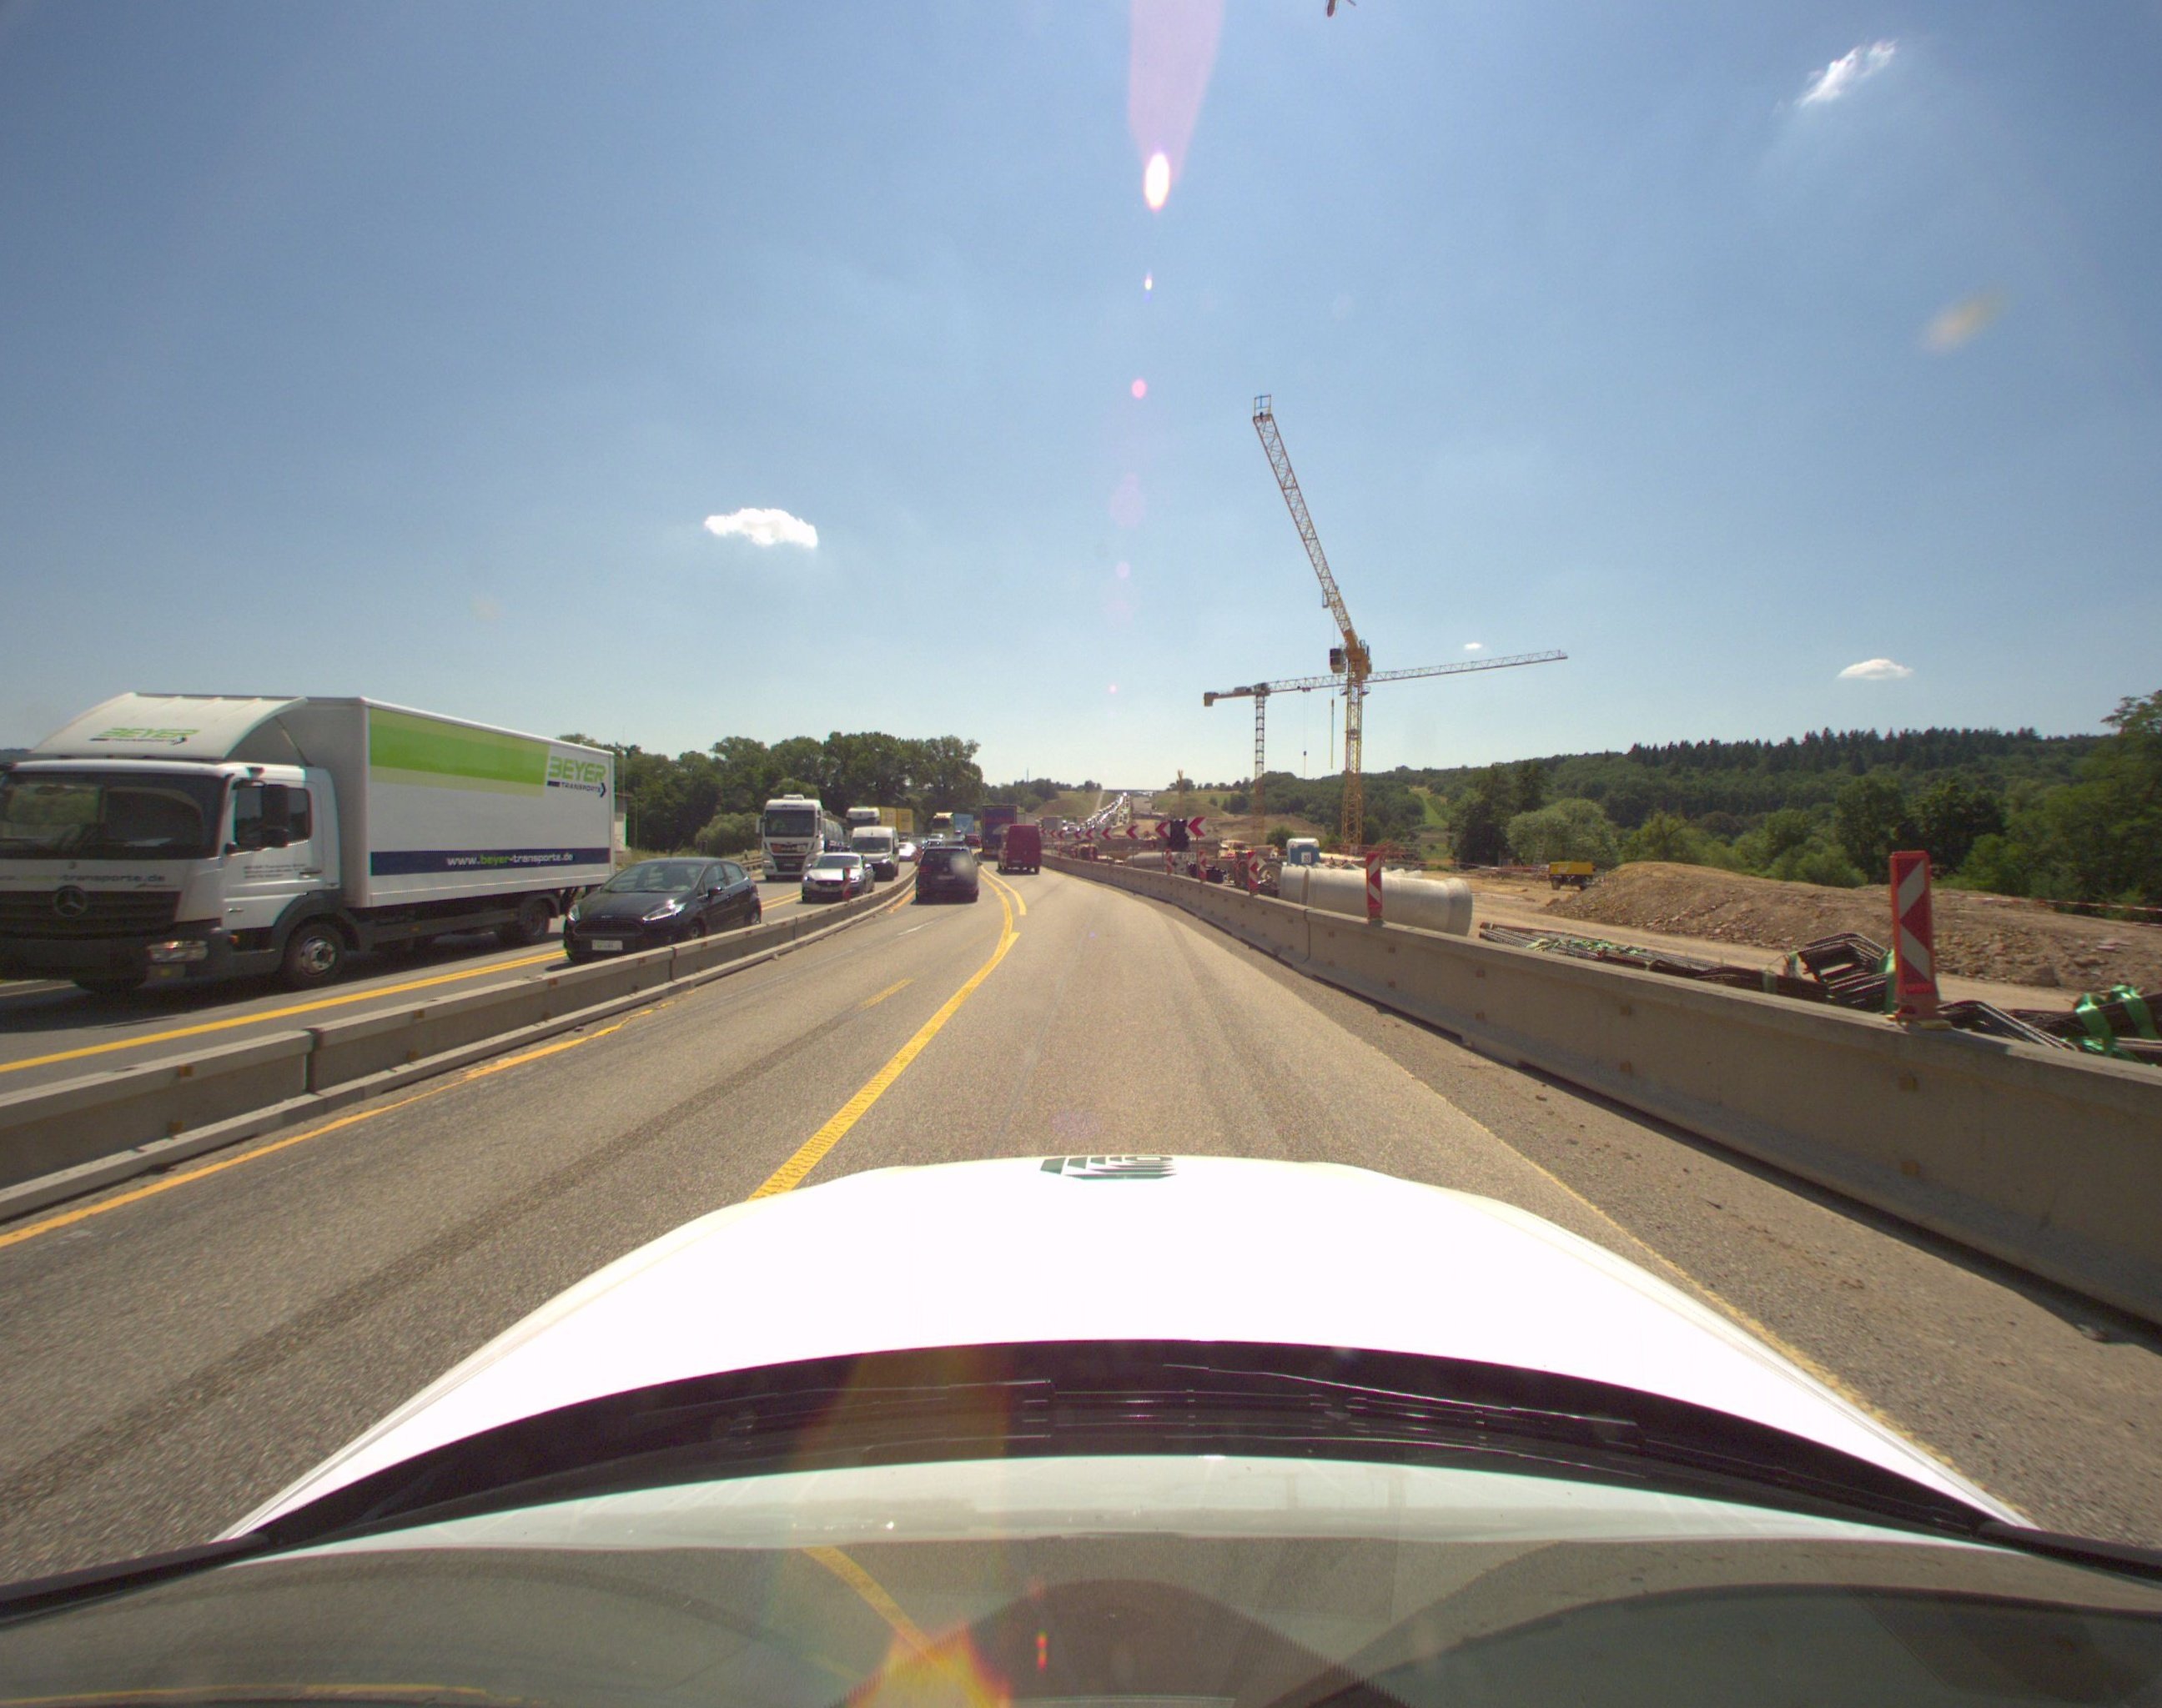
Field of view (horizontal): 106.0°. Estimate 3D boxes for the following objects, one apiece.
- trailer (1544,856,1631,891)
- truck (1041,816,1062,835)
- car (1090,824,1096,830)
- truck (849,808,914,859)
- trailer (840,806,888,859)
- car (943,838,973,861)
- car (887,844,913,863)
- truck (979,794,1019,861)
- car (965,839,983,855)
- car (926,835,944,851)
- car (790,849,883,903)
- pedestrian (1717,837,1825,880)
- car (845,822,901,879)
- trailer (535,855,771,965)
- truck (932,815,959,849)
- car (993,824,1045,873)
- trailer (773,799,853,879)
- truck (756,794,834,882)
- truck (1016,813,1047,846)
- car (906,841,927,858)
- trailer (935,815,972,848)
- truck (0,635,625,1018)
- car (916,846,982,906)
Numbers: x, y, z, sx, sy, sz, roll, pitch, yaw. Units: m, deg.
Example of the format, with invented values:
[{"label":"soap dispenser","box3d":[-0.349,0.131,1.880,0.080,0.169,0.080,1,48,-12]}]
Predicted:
[{"label":"trailer","box3d":[23.005,0.858,37.141,1.618,1.486,3.826,1,0,0]},{"label":"truck","box3d":[-5.435,-5.243,151.034,3.171,2.977,8.904,0,-2,3]},{"label":"car","box3d":[3.352,-7.603,227.122,1.611,1.699,3.893,1,2,2]},{"label":"truck","box3d":[-18.472,-1.904,76.669,2.800,4.341,15.363,0,1,-2]},{"label":"trailer","box3d":[-18.073,-1.784,68.226,2.860,4.229,5.212,0,1,-4]},{"label":"car","box3d":[-8.925,-0.359,59.474,1.830,1.635,4.382,0,0,-5]},{"label":"car","box3d":[-13.030,-0.067,58.829,1.677,1.264,4.322,0,2,-10]},{"label":"truck","box3d":[-6.445,-2.022,63.697,2.942,4.944,6.727,0,2,-7]},{"label":"car","box3d":[-11.212,-0.715,85.507,1.831,1.635,4.097,0,1,-6]},{"label":"car","box3d":[-15.107,-1.179,84.284,1.635,1.485,3.990,0,3,-8]},{"label":"car","box3d":[-7.405,0.609,25.090,1.842,1.464,4.516,0,1,-5]},{"label":"pedestrian","box3d":[33.656,0.277,39.877,1.985,2.014,4.002,0,-2,2]},{"label":"car","box3d":[-9.882,-0.137,39.118,2.071,2.503,6.461,0,-1,-10]},{"label":"trailer","box3d":[-6.350,0.753,12.643,1.660,1.431,3.996,0,-1,-2]},{"label":"truck","box3d":[-17.593,-2.892,105.981,2.617,4.270,4.731,1,1,-1]},{"label":"car","box3d":[-3.563,-0.320,45.779,2.152,2.610,5.415,0,1,-12]},{"label":"trailer","box3d":[-14.347,-0.729,44.336,2.525,3.789,10.211,1,0,-10]},{"label":"truck","box3d":[-13.352,-0.696,38.367,2.533,3.821,4.934,1,0,-9]},{"label":"truck","box3d":[-6.196,-3.082,103.163,3.168,3.989,6.748,0,2,3]},{"label":"car","box3d":[-14.368,-0.443,71.155,1.677,1.361,4.488,0,2,-10]},{"label":"trailer","box3d":[-17.481,-3.020,112.767,2.638,4.292,13.313,1,1,1]},{"label":"truck","box3d":[-10.159,-0.265,11.869,2.812,3.575,8.483,0,0,-5]},{"label":"car","box3d":[-3.969,0.594,25.058,1.731,1.635,4.381,0,1,-6]}]
